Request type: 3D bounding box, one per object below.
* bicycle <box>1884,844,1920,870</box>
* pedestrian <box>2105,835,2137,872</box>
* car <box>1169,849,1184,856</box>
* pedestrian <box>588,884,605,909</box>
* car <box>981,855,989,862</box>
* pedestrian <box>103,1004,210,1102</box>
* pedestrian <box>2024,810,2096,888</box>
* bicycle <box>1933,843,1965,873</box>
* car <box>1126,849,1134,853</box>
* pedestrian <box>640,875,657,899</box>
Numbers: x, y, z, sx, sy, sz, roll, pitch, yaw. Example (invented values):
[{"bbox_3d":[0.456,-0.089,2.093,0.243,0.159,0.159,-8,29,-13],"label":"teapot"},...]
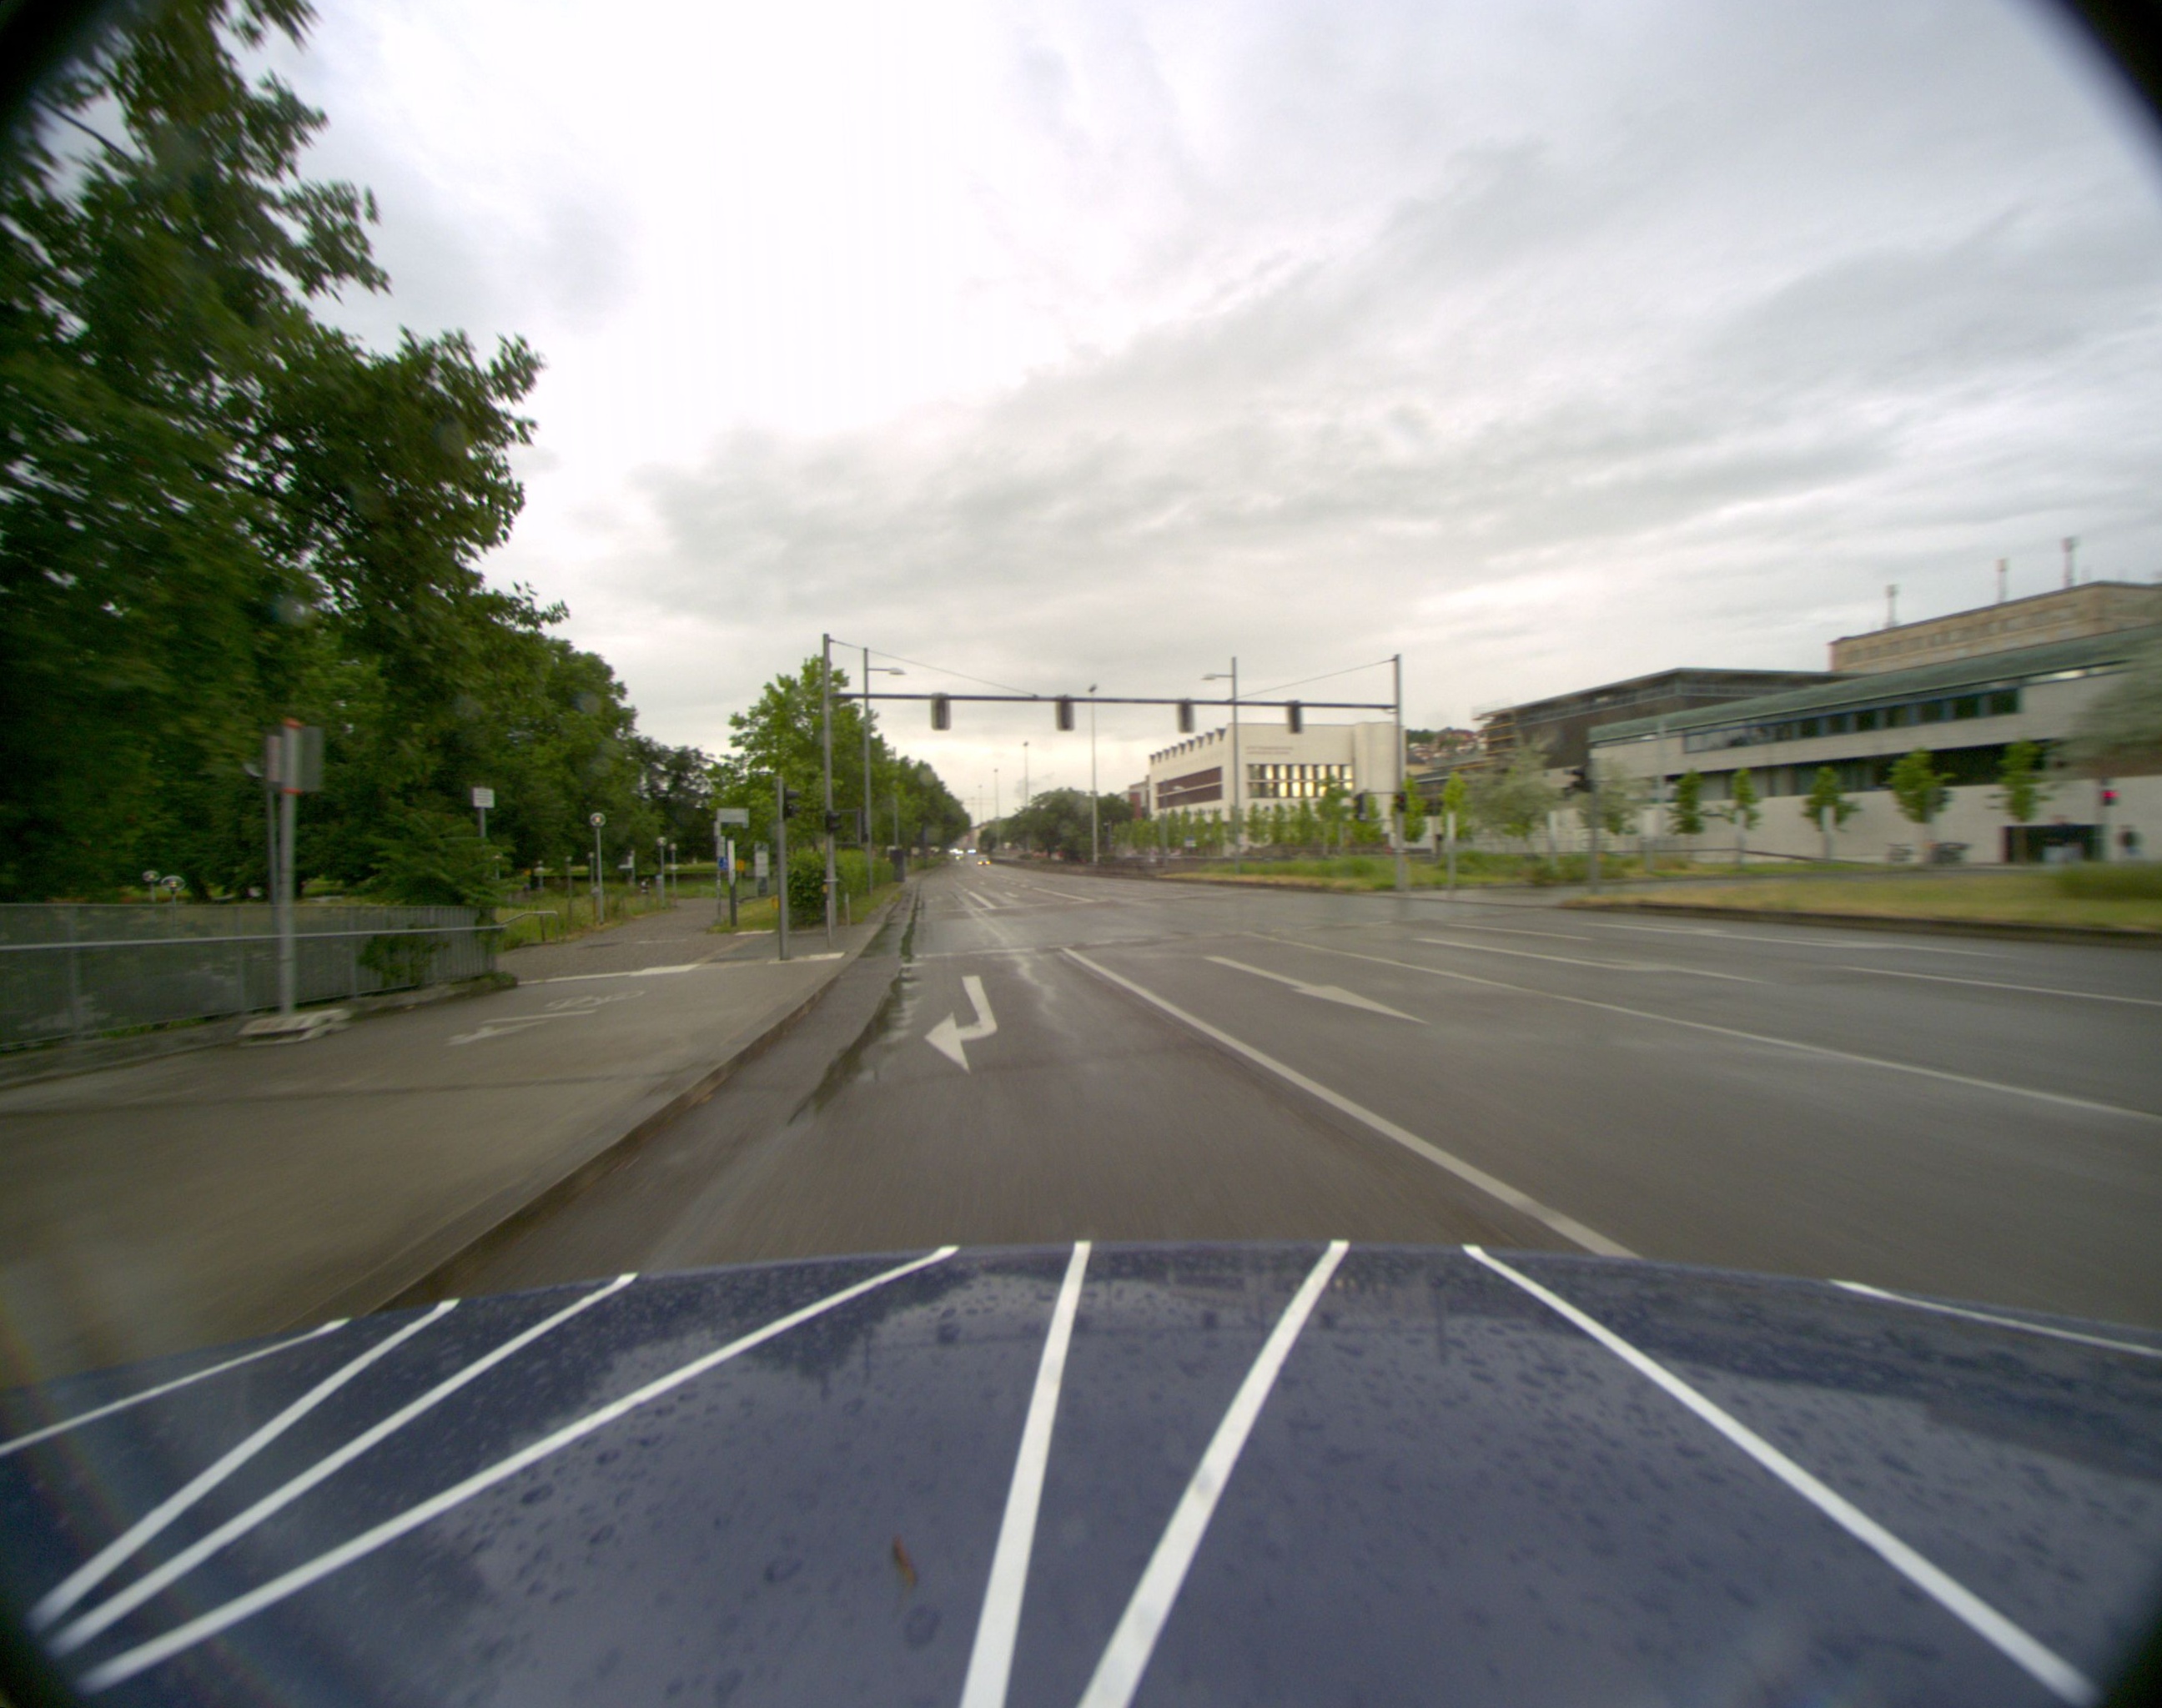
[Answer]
[{"bbox_3d":[39.828,0.143,36.850,1.705,1.155,0.529,-3,2,-19],"label":"bicycle"},{"bbox_3d":[39.588,-0.016,28.927,0.467,1.375,0.577,-2,2,18],"label":"pedestrian"},{"bbox_3d":[15.923,-0.201,127.272,1.445,1.108,3.016,-3,2,-14],"label":"car"},{"bbox_3d":[-30.670,2.681,48.081,0.727,1.560,0.671,-4,3,-43],"label":"pedestrian"},{"bbox_3d":[-18.110,0.789,143.422,1.518,1.138,2.758,-3,2,-7],"label":"car"},{"bbox_3d":[-20.304,4.346,16.720,0.947,1.841,1.027,-2,2,0],"label":"pedestrian"},{"bbox_3d":[27.122,-0.123,21.066,0.768,2.078,0.727,-4,-4,6],"label":"pedestrian"},{"bbox_3d":[39.645,0.177,34.699,1.483,1.300,0.556,-3,2,-25],"label":"bicycle"},{"bbox_3d":[9.315,-0.583,144.375,0.822,0.741,2.550,-3,2,-14],"label":"car"},{"bbox_3d":[-29.504,2.233,51.834,0.672,1.560,0.726,-2,2,-2],"label":"pedestrian"}]
